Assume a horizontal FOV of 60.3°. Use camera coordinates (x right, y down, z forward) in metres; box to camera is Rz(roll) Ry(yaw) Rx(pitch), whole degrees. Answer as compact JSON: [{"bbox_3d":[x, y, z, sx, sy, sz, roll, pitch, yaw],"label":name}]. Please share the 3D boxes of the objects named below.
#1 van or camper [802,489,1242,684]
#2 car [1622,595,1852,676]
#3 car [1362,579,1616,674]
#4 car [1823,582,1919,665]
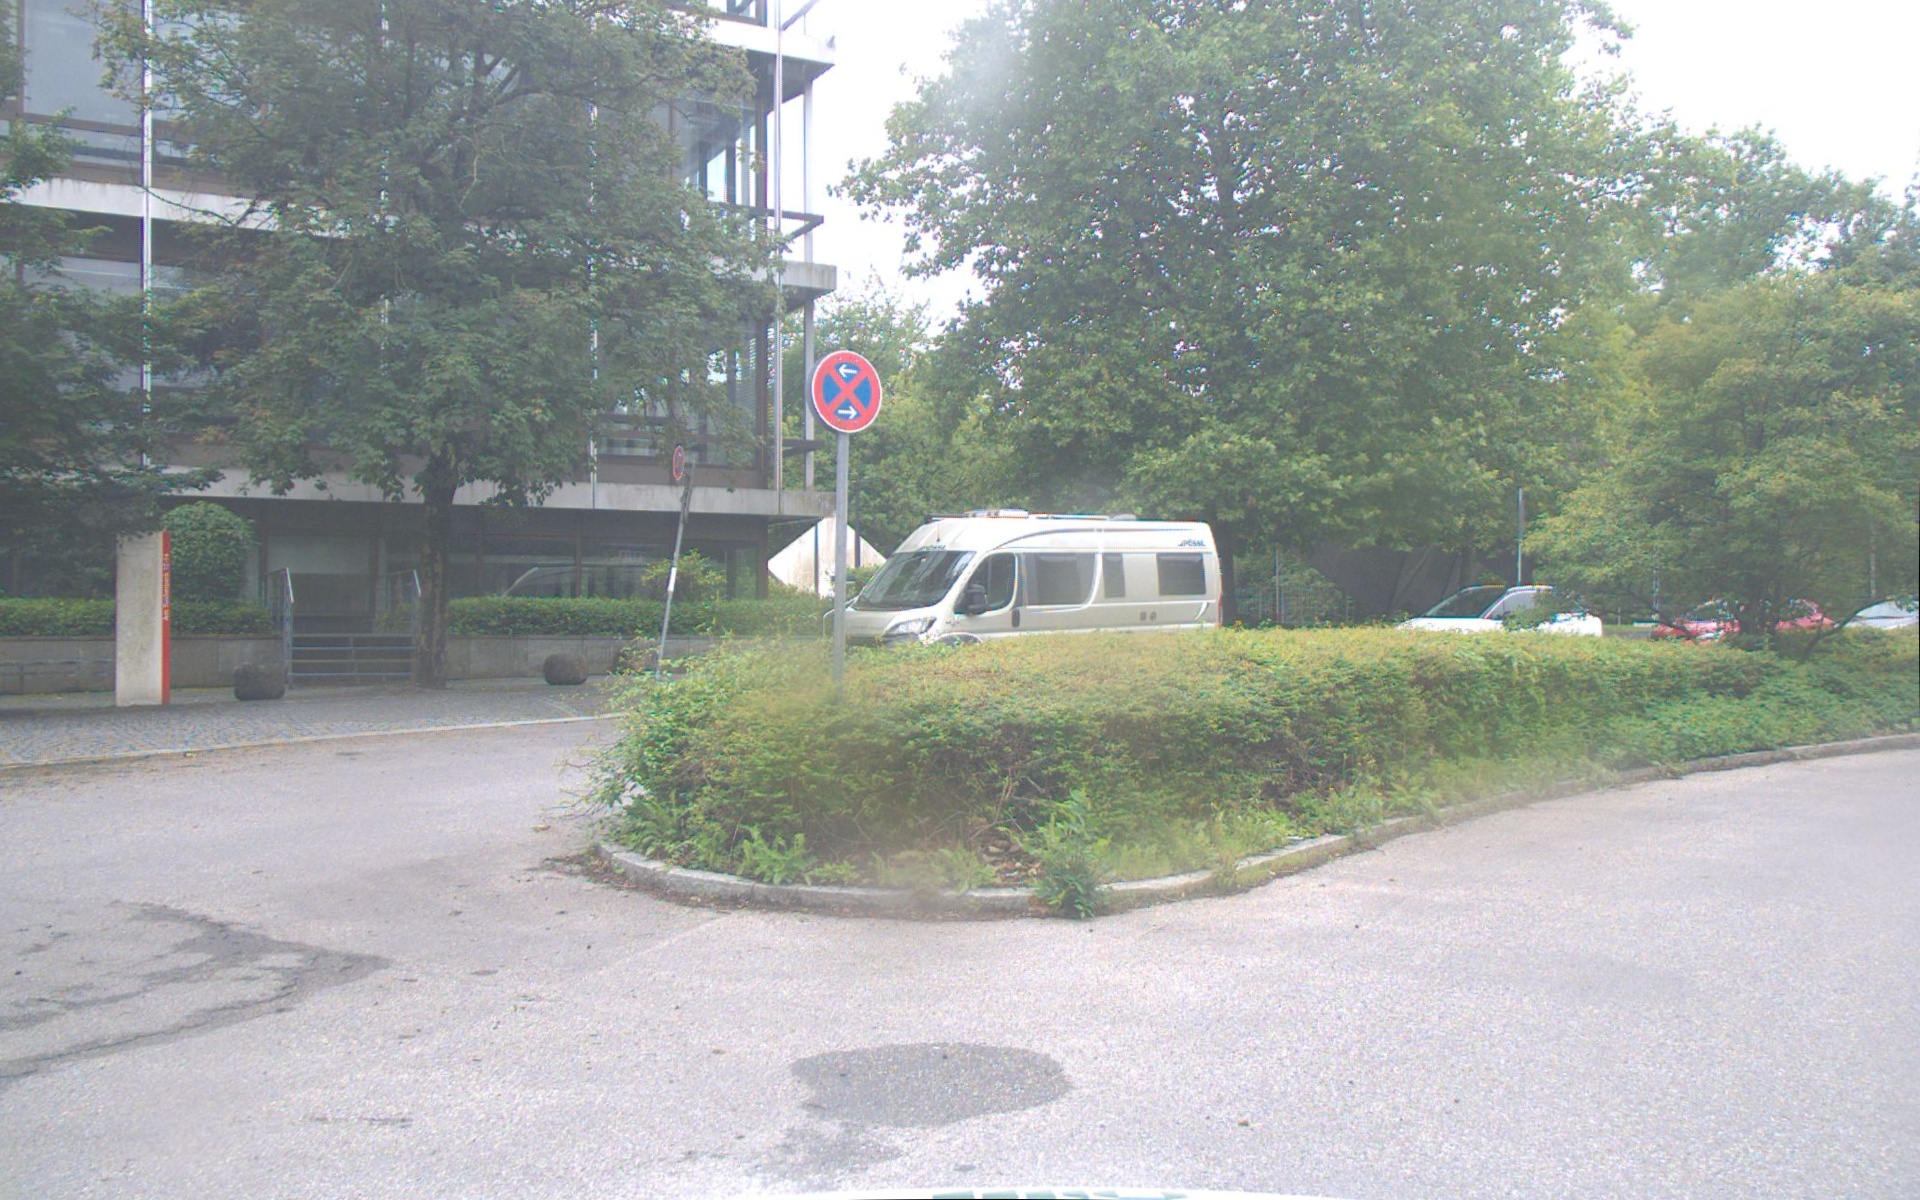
[{"bbox_3d":[1.026,-0.144,22.654,6.366,2.321,2.220,0,0,-43],"label":"van or camper"},{"bbox_3d":[14.648,0.629,31.188,3.941,1.434,1.982,0,0,-28],"label":"car"},{"bbox_3d":[9.064,0.423,28.319,3.941,1.534,1.982,0,0,-28],"label":"car"},{"bbox_3d":[19.891,0.451,33.951,3.941,1.602,1.982,0,0,-28],"label":"car"}]
